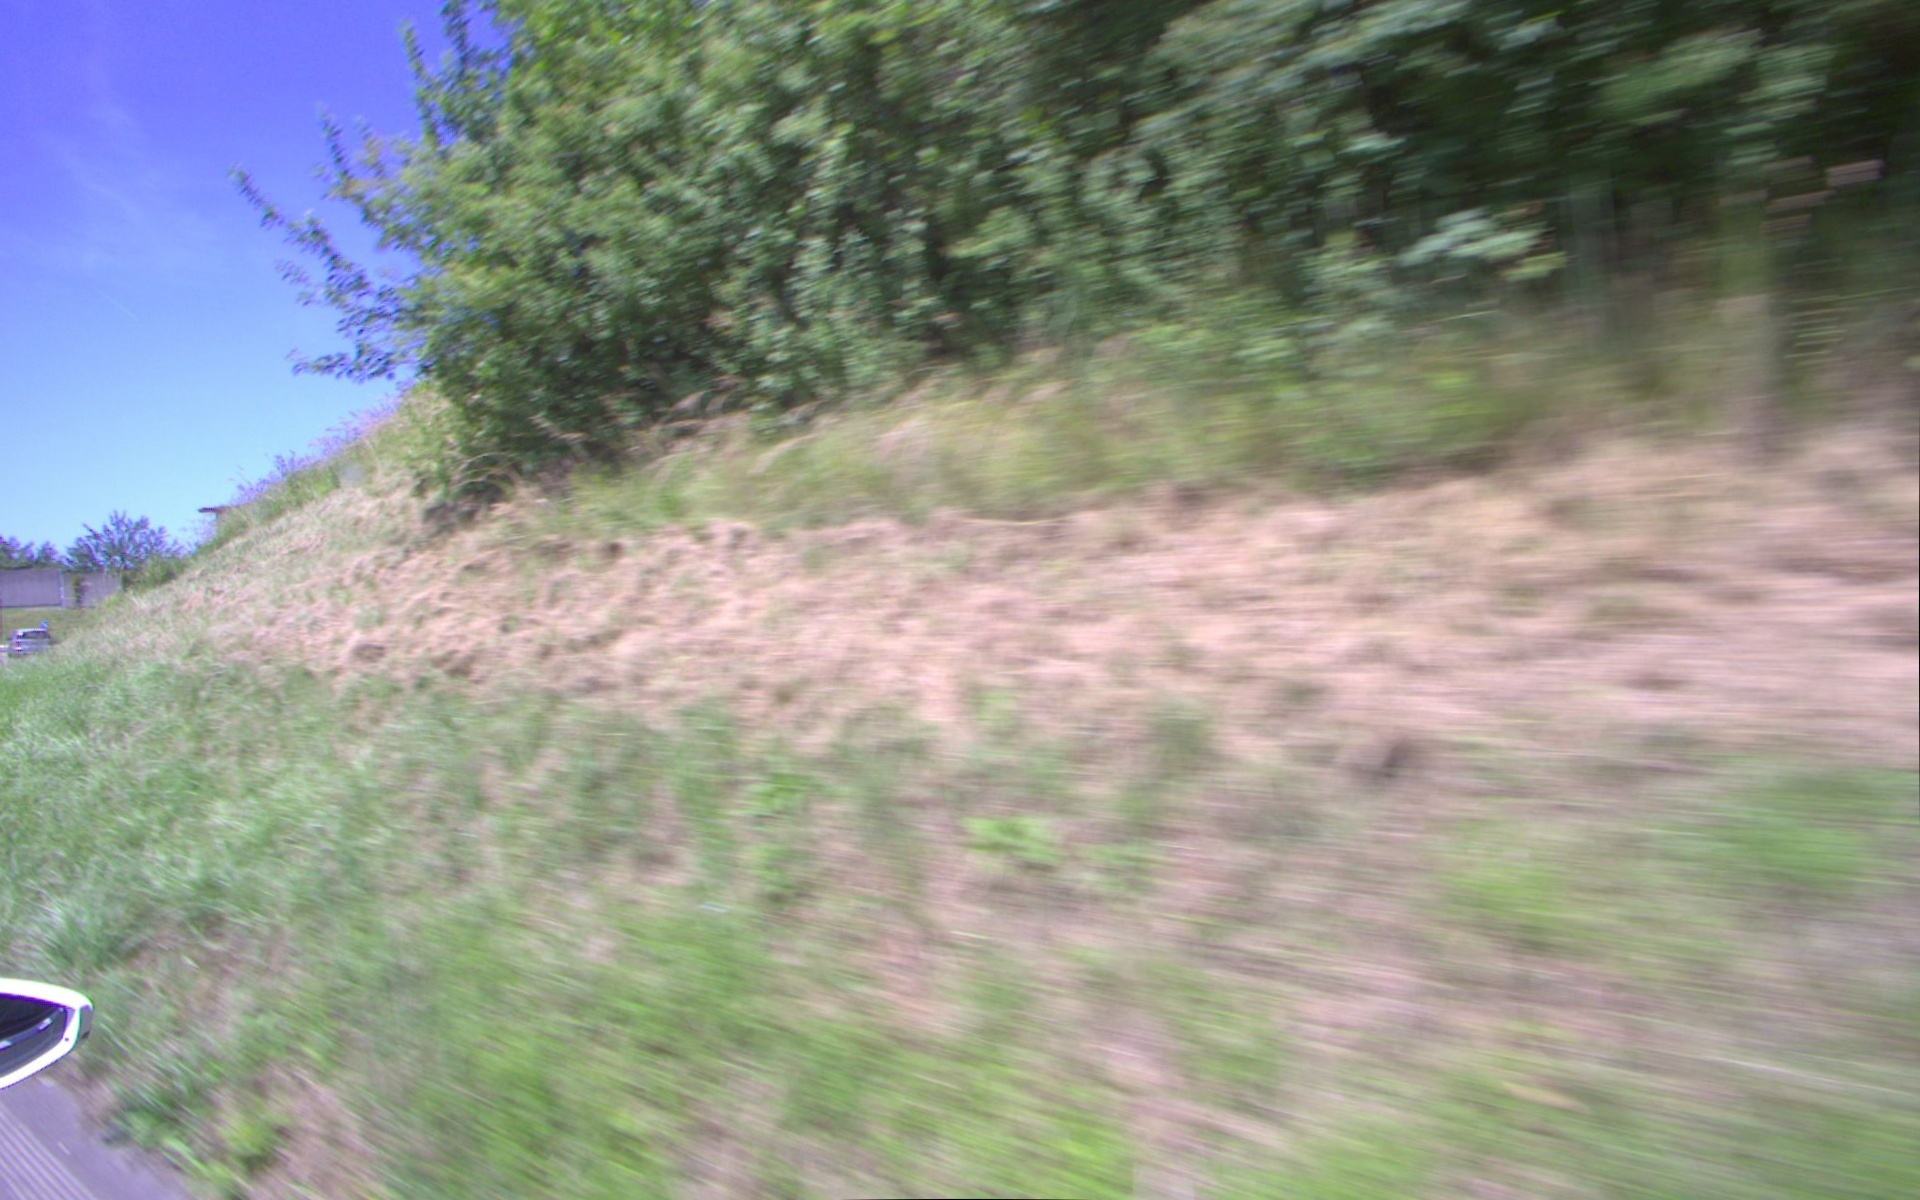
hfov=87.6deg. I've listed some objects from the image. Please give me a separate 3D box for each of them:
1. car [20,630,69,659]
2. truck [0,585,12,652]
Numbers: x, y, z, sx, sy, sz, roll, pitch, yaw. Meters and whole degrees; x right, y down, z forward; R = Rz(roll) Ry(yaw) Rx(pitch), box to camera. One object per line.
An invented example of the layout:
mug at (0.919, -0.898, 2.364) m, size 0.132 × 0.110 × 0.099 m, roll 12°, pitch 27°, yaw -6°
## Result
car at (-50.309, 2.447, 55.062) m, size 1.634 × 1.528 × 3.612 m, roll 2°, pitch -3°, yaw -37°
truck at (-67.927, 1.235, 66.379) m, size 11.604 × 4.365 × 3.192 m, roll -1°, pitch -1°, yaw 24°
